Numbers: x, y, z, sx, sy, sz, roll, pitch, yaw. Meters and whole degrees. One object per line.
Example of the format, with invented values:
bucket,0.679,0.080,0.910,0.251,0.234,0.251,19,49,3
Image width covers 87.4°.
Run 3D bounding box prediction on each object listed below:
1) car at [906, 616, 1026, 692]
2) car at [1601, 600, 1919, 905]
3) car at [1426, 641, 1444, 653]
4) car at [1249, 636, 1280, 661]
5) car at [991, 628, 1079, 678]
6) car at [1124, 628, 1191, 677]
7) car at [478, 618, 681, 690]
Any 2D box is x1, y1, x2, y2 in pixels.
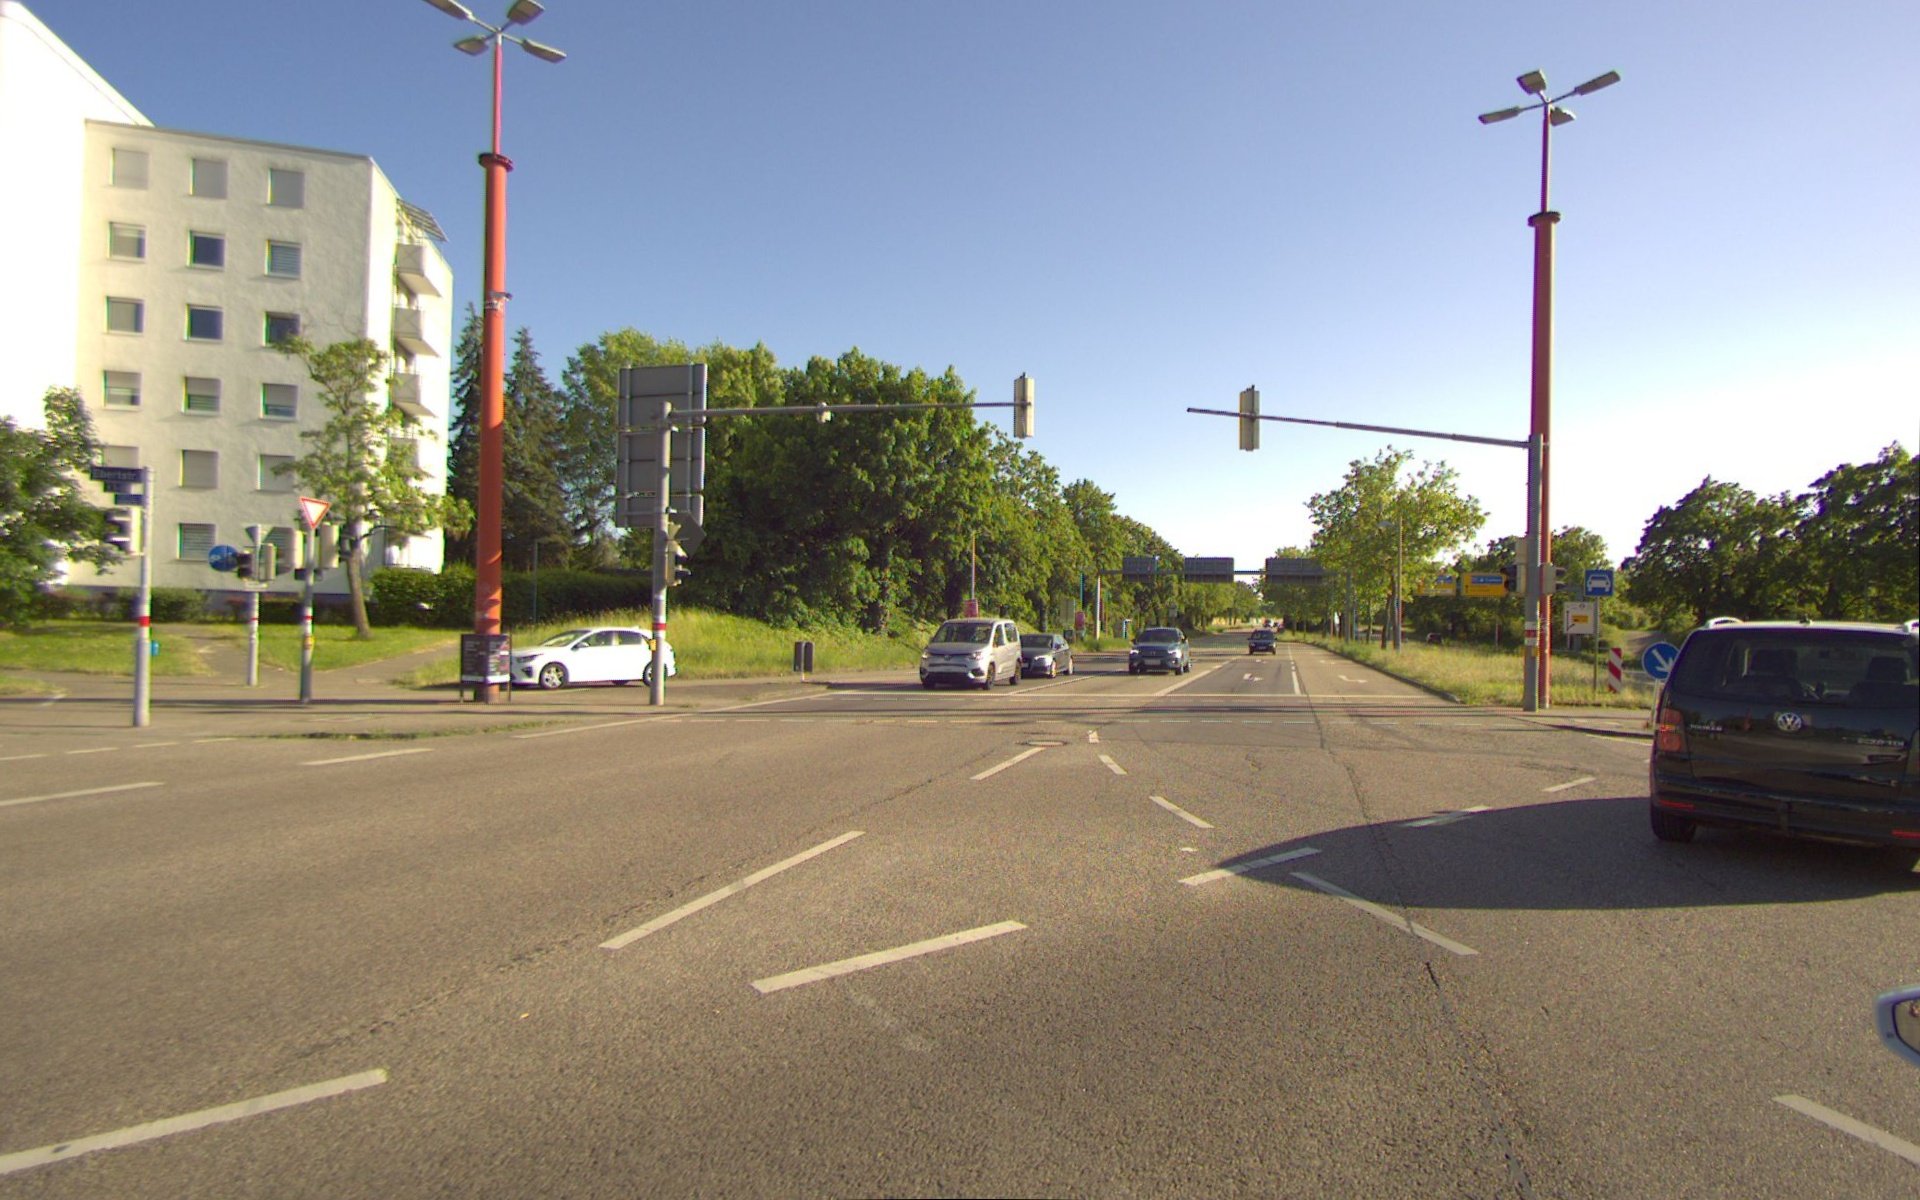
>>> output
car,0.271,1.348,26.114,1.866,1.798,4.448,0,-2,18
car,6.640,0.934,7.700,4.889,1.665,1.751,3,-1,-43
car,64.424,6.331,136.252,1.738,1.483,4.367,2,-1,19
car,20.094,3.150,66.154,1.866,1.585,4.567,0,-2,18
car,2.554,1.699,33.065,1.866,1.494,4.567,0,-2,18
car,7.162,1.835,36.153,1.866,1.631,4.567,0,-2,18
car,-9.075,1.264,24.245,1.875,1.571,4.241,-1,-2,39
